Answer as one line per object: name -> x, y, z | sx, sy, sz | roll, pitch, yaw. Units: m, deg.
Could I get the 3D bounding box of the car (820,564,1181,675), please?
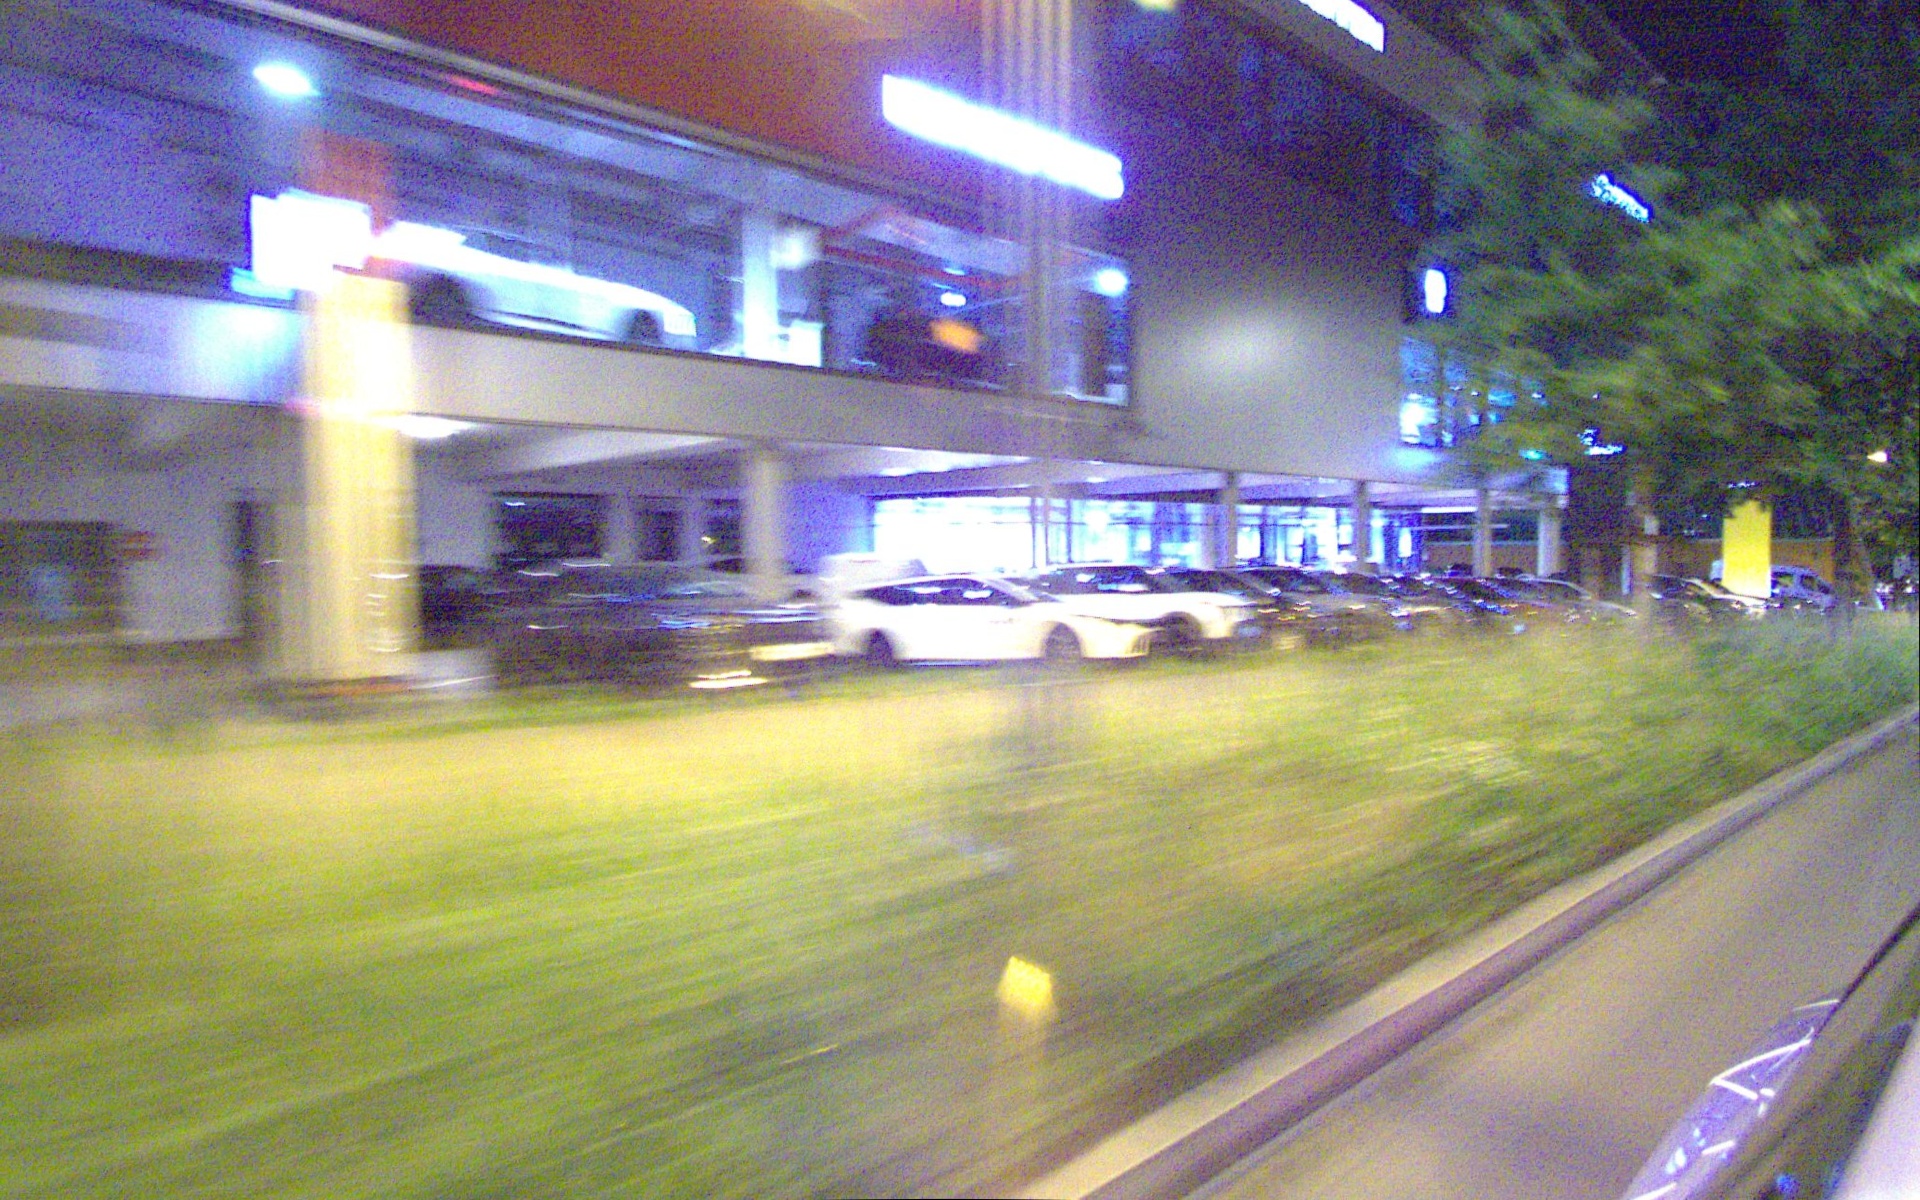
car -> 0.526, 0.193, 13.922 | 4.598, 1.280, 1.930 | 2, 1, 27

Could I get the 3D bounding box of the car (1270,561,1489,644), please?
car -> 8.612, 0.002, 20.827 | 3.966, 1.409, 1.808 | 4, 2, 29

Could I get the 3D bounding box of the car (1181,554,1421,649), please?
car -> 6.409, -0.036, 19.138 | 3.970, 1.488, 1.812 | 4, 3, 32

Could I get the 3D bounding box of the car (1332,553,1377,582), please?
car -> 23.754, -1.951, 60.864 | 1.982, 1.682, 4.623 | 1, 2, 28

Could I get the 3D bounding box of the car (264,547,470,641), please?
car -> -11.850, -0.196, 20.331 | 1.634, 1.660, 3.248 | 5, 6, 44

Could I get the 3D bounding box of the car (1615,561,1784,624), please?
car -> 25.382, -0.303, 34.811 | 4.459, 1.707, 1.971 | 8, 5, 40

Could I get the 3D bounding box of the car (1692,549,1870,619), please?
car -> 37.879, -0.789, 47.009 | 6.002, 2.559, 2.256 | 8, 5, 35

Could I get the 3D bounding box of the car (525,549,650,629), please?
car -> -8.598, -0.328, 23.227 | 1.717, 1.604, 3.489 | -3, 5, -38

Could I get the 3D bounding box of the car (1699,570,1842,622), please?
car -> 31.531, -0.191, 39.466 | 4.200, 1.683, 1.932 | 6, 4, 41

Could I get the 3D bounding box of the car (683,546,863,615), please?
car -> -4.745, -0.508, 25.806 | 4.258, 1.675, 1.650 | 0, 1, 14

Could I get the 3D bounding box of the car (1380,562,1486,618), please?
car -> 14.724, -0.360, 31.749 | 1.961, 1.548, 3.990 | 3, 3, 10

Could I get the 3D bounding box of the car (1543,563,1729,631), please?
car -> 20.655, -0.160, 31.033 | 4.461, 1.565, 1.744 | 8, 7, 42

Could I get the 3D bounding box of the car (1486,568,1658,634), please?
car -> 16.638, -0.017, 27.600 | 3.795, 1.470, 1.694 | 5, 4, 38

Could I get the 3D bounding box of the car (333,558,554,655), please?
car -> -9.710, 0.041, 19.172 | 1.634, 1.531, 3.363 | 3, 6, 45

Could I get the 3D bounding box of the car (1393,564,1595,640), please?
car -> 12.746, -0.009, 24.230 | 4.013, 1.389, 1.803 | 6, 5, 35

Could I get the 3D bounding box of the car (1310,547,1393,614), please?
car -> 12.284, -0.631, 32.041 | 1.808, 1.941, 4.808 | 0, 1, 14

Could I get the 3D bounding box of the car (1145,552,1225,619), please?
car -> 5.594, -0.373, 24.861 | 1.604, 1.482, 3.774 | 1, 1, 17

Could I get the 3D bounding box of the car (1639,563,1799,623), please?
car -> 27.434, -0.299, 36.638 | 4.457, 1.832, 1.971 | 5, 4, 41

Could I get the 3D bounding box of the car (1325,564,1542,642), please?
car -> 10.450, 0.009, 22.477 | 3.985, 1.397, 1.782 | 5, 4, 41

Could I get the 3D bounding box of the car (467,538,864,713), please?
car -> -3.112, 0.175, 10.344 | 4.112, 1.438, 1.852 | 1, 1, 38

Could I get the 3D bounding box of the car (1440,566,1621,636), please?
car -> 14.633, -0.036, 26.035 | 3.762, 1.395, 1.693 | 7, 5, 38

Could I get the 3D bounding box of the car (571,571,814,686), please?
car -> -4.013, 0.321, 16.006 | 1.754, 1.426, 4.319 | 1, 3, 16

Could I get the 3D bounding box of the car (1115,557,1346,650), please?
car -> 4.624, 0.016, 17.336 | 3.579, 1.451, 1.664 | 1, 1, 28

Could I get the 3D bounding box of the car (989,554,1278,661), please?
car -> 2.625, 0.048, 15.578 | 3.972, 1.441, 1.886 | 2, 1, 34

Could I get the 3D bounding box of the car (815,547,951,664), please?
car -> -1.279, -0.009, 18.469 | 1.563, 1.817, 3.862 | 0, 4, 10

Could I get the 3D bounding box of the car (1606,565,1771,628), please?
car -> 23.442, -0.159, 32.630 | 4.079, 1.587, 1.828 | 7, 5, 40

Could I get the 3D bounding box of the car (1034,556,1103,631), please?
car -> 2.431, -0.166, 22.169 | 1.300, 1.505, 3.065 | 1, 1, 10
